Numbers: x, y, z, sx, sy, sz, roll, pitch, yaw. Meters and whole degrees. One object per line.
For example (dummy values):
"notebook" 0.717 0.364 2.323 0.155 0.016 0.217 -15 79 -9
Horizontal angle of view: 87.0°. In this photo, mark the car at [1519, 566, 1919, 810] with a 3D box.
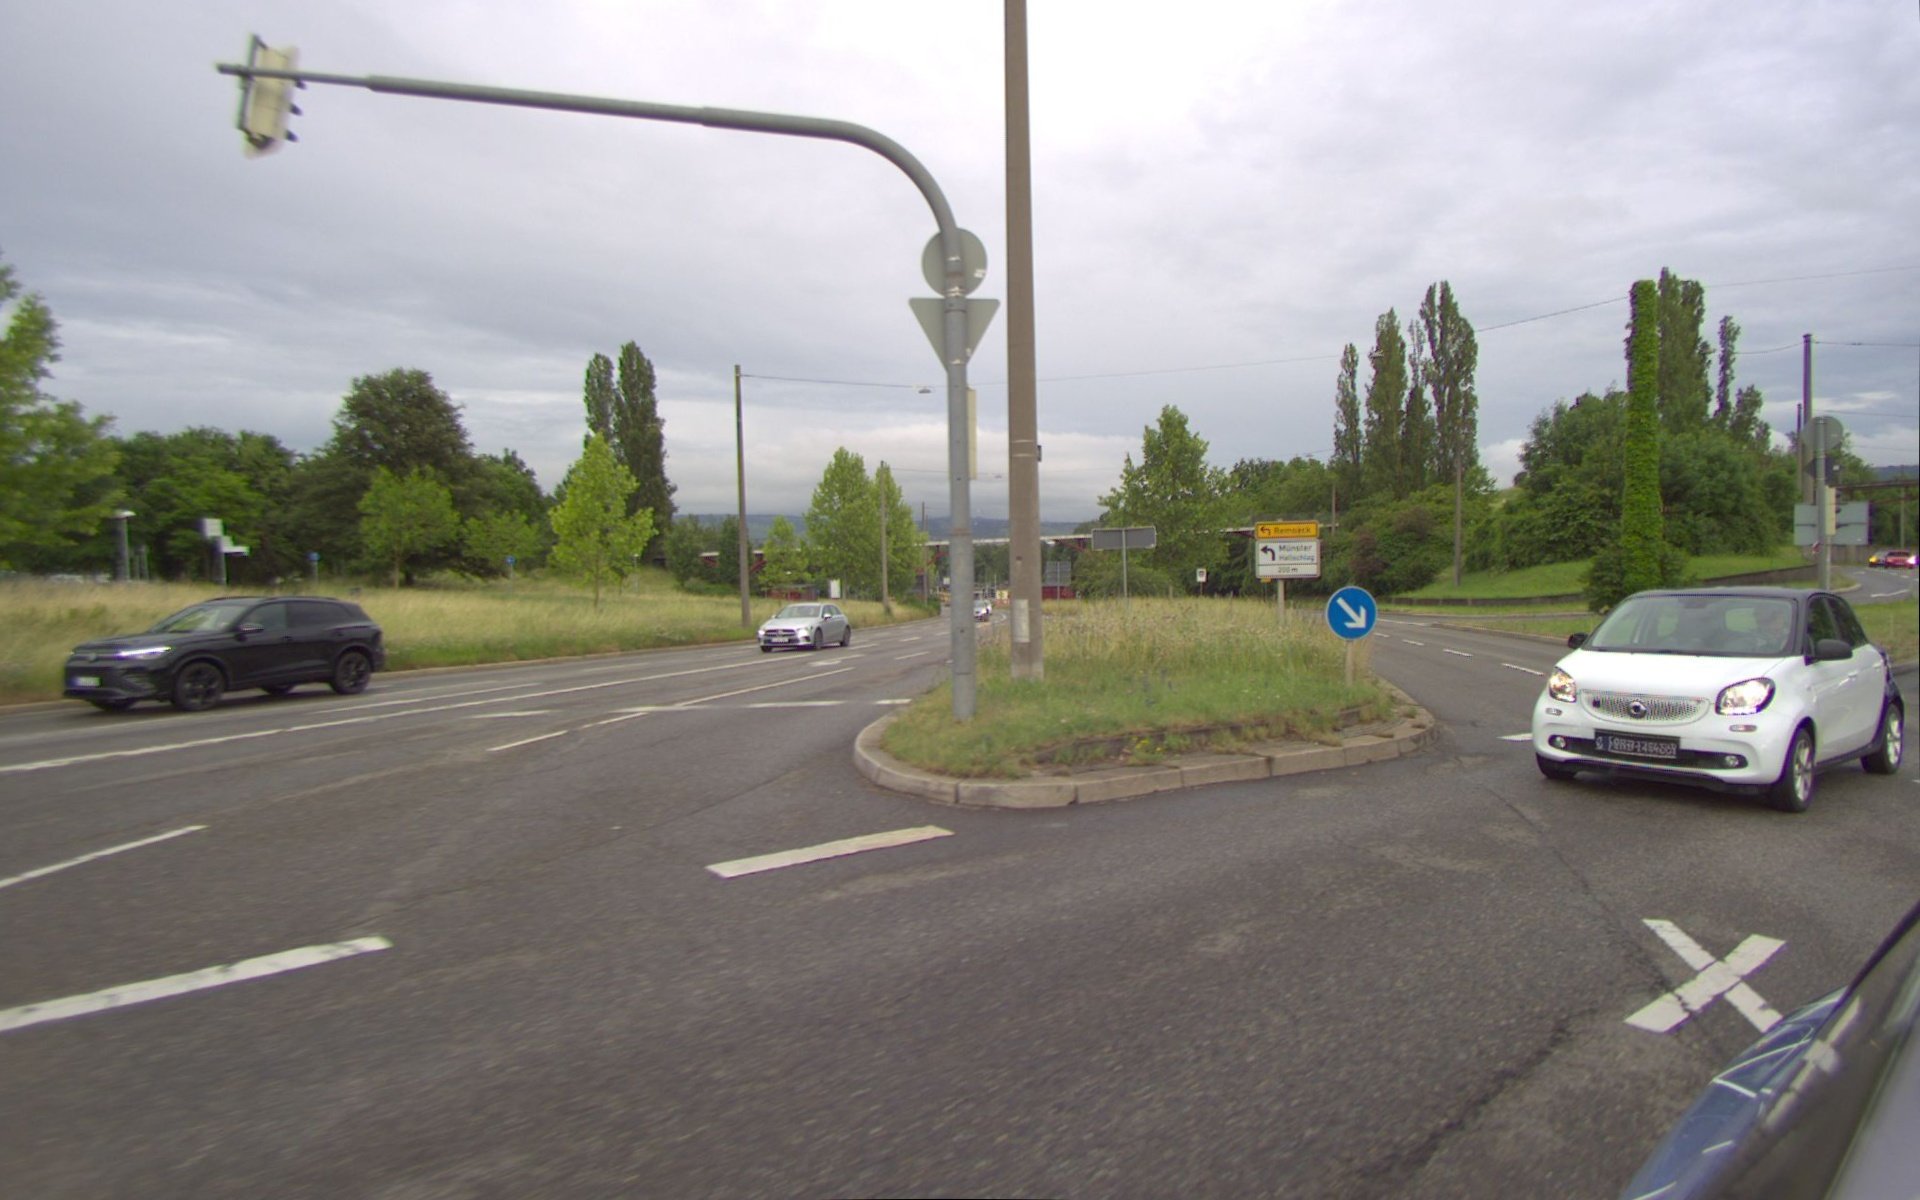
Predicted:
"car" 6.491 0.534 8.331 4.148 1.541 1.726 -1 0 -36

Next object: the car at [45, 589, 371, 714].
"car" -11.451 0.680 15.761 1.696 1.663 3.869 -1 1 16

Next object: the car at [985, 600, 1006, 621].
"car" 3.535 0.988 99.593 1.806 1.972 3.995 -2 0 4

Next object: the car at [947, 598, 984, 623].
"car" 0.415 0.681 64.777 1.841 1.505 3.991 -1 0 8

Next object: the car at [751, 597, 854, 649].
"car" -4.717 0.656 30.790 1.722 1.445 3.984 -1 0 13

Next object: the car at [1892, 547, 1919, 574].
"car" 75.151 -3.119 79.943 1.990 2.039 3.944 -1 0 39

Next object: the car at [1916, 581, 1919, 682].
"car" 15.690 0.327 14.706 3.748 1.558 1.844 -7 3 -34

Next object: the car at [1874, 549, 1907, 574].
"car" 83.238 -3.420 90.559 1.991 2.039 3.942 -1 0 40
